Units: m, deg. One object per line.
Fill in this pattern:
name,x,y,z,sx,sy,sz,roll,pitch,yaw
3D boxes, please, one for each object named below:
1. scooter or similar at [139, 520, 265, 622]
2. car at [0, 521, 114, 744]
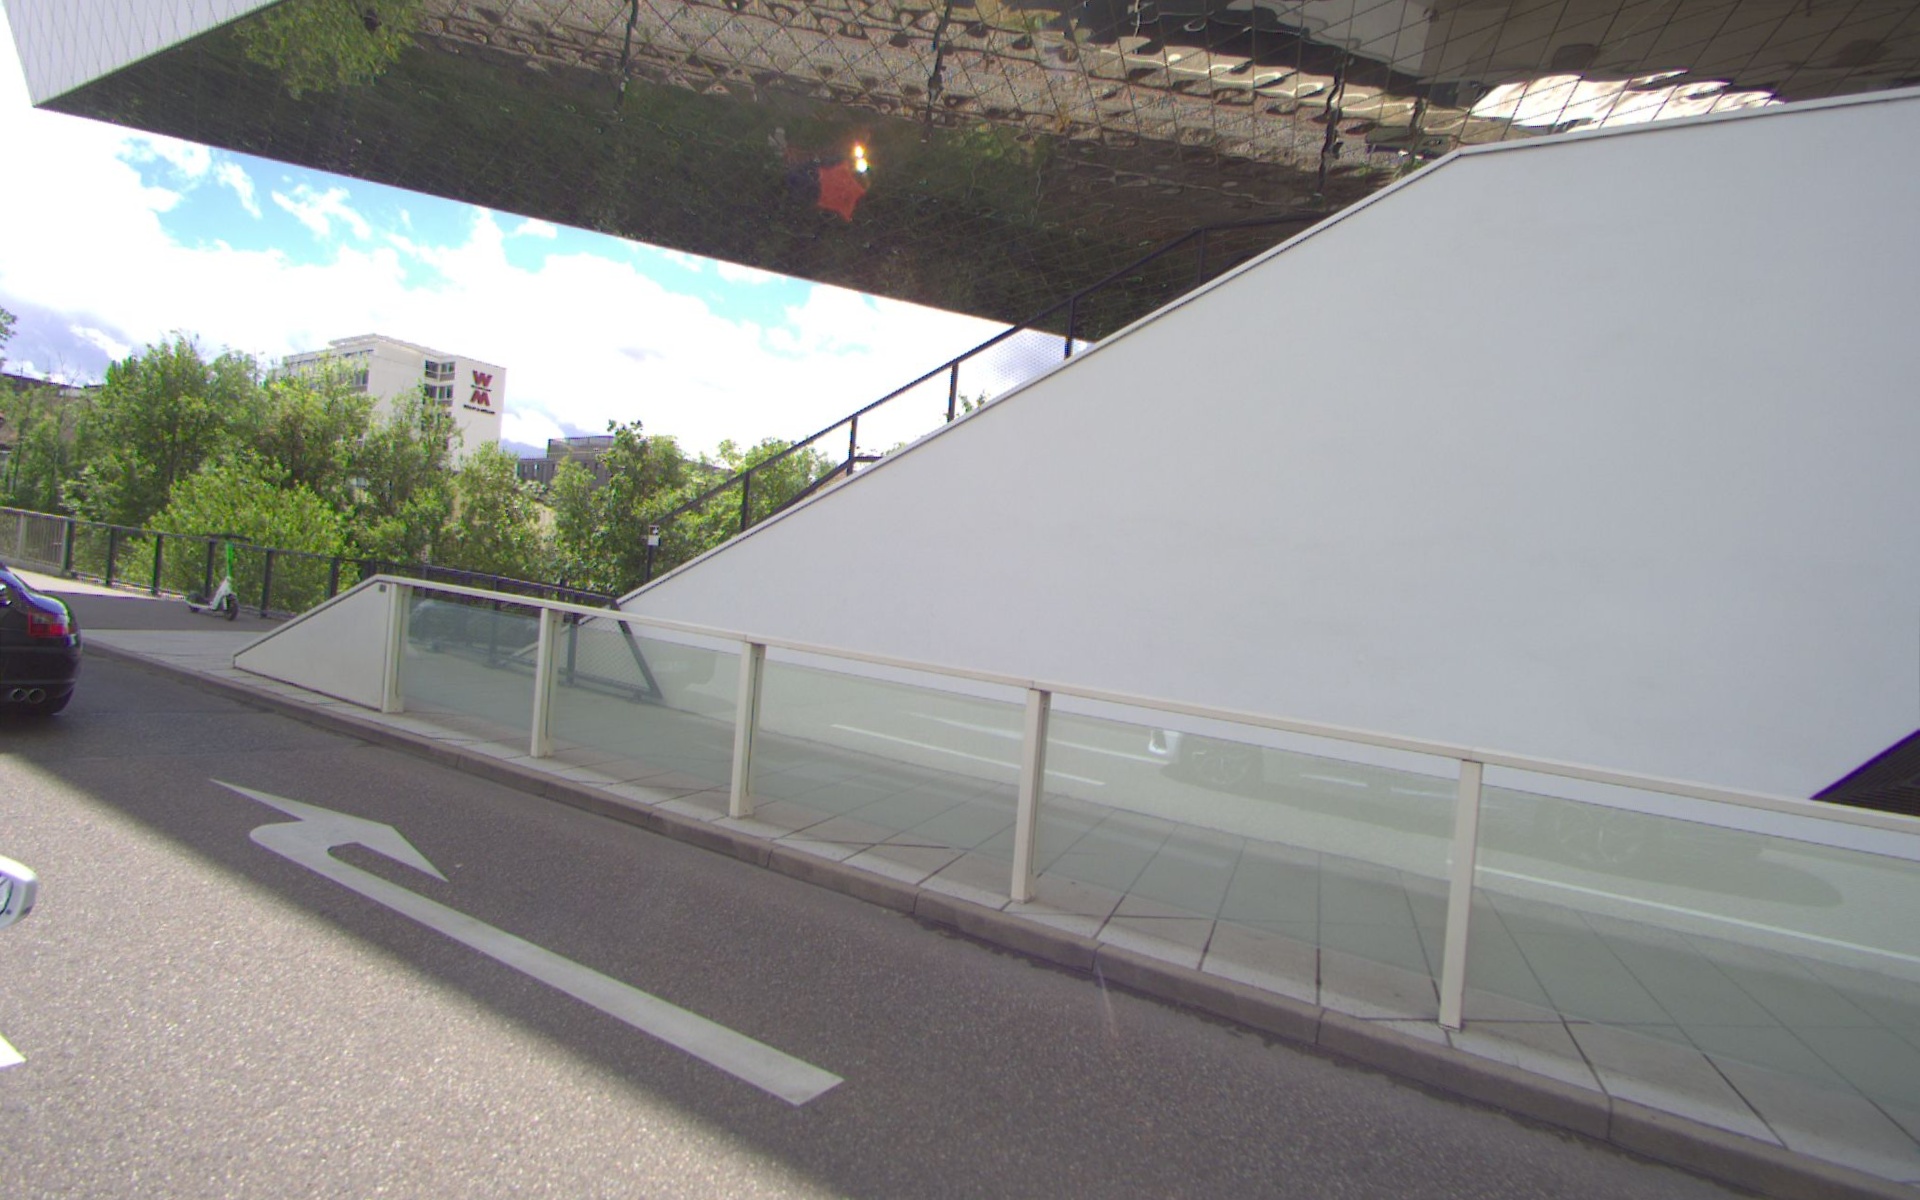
scooter or similar,-10.643,-0.415,14.113,1.826,1.229,0.654,6,1,29
car,-7.569,-0.007,6.668,4.019,1.290,1.723,6,-1,31
